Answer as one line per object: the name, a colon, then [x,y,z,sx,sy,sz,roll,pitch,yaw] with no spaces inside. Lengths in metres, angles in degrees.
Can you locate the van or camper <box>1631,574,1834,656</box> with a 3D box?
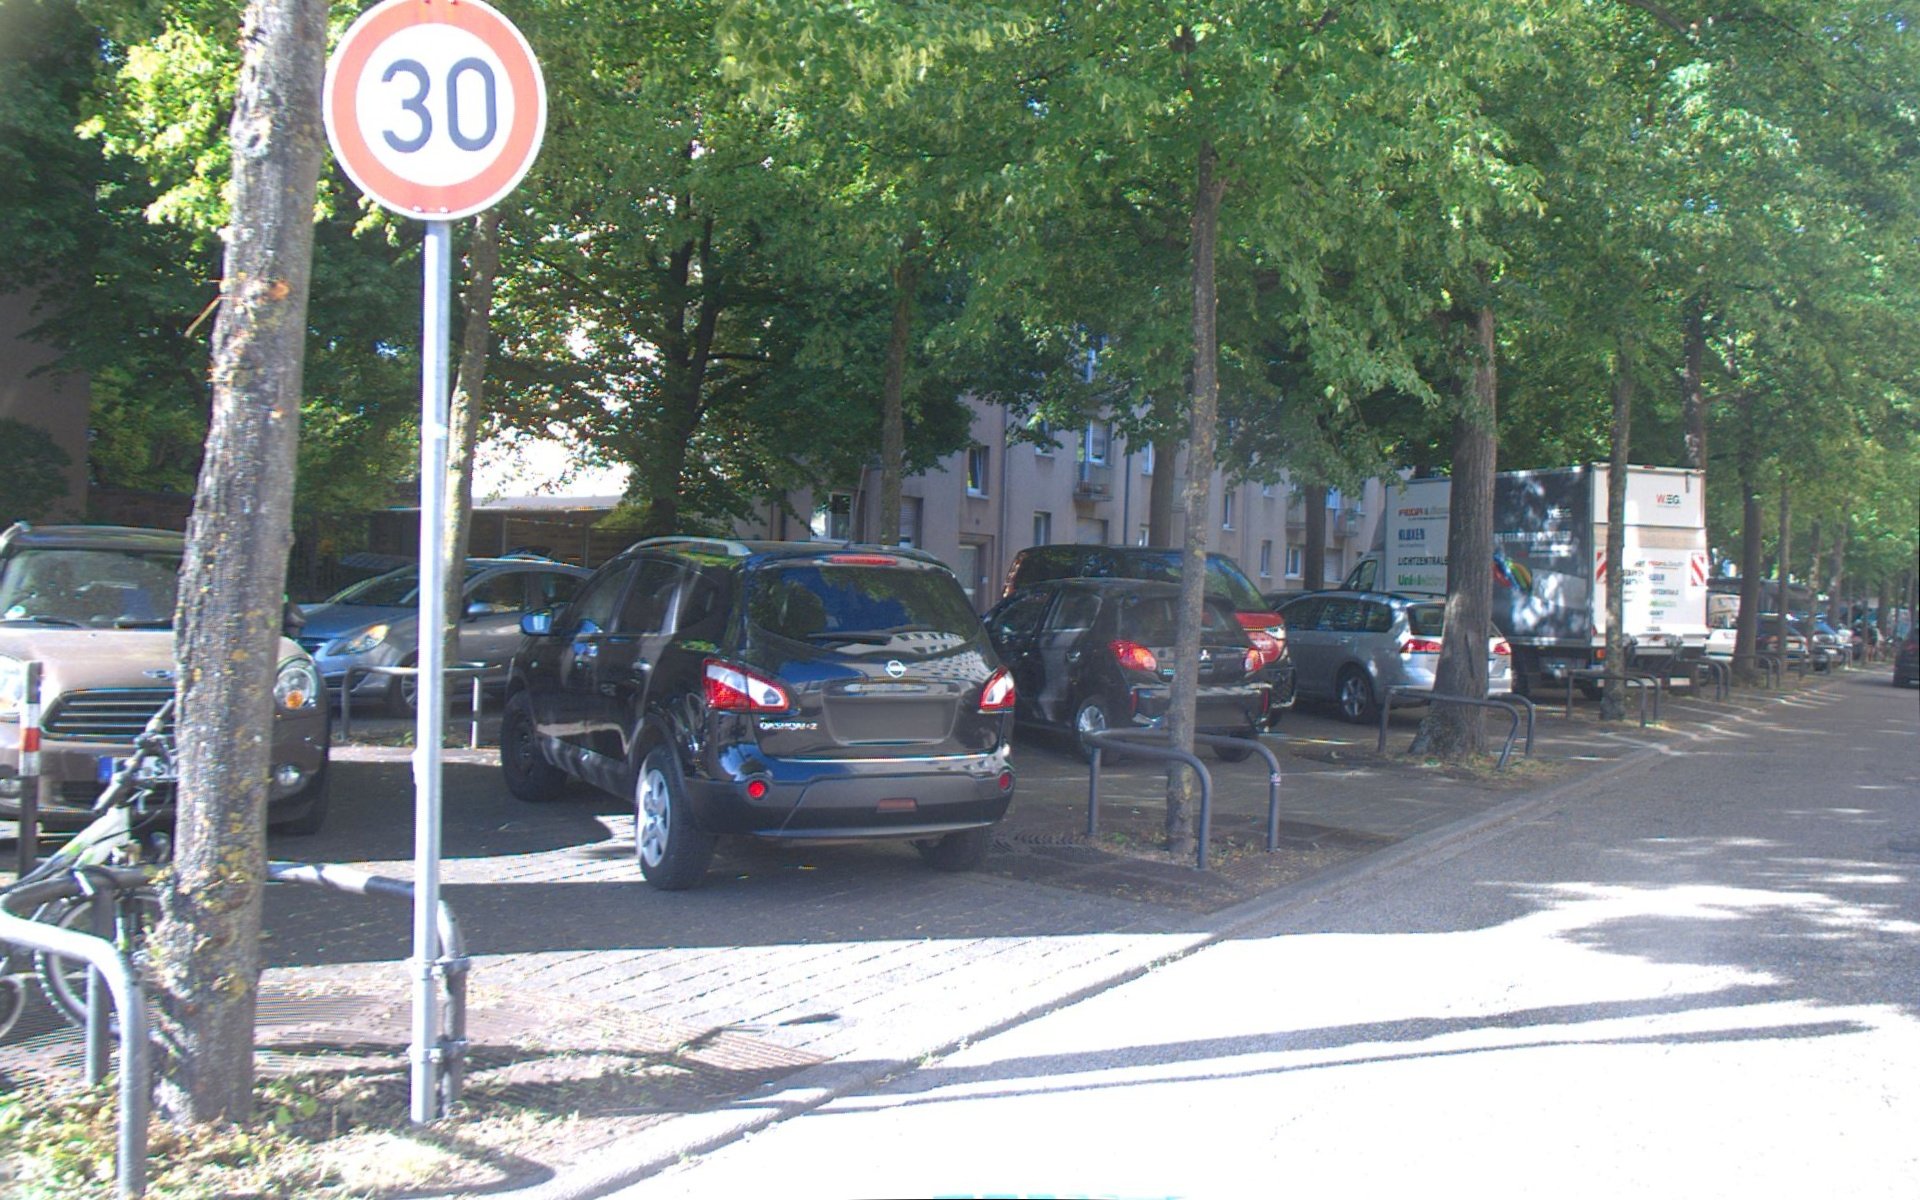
van or camper: [29.982,0.525,64.542,2.282,2.981,7.177,1,0,-30]

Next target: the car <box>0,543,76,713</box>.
car: [-10.086,0.212,14.327,1.723,1.537,3.939,2,1,32]

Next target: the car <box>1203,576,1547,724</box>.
car: [4.849,0.531,20.013,1.783,1.533,4.313,2,1,-23]

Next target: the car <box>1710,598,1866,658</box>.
car: [25.854,0.854,51.799,1.733,1.708,4.109,2,1,-28]

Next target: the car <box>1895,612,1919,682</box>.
car: [22.455,1.062,37.790,1.764,1.530,3.577,2,0,31]

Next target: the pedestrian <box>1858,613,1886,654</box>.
pedestrian: [34.322,1.263,62.268,0.589,1.481,0.703,2,0,-34]

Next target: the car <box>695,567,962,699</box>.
car: [-1.619,0.395,21.803,1.719,1.512,3.946,2,1,26]

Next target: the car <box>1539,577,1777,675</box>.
car: [15.344,0.532,36.591,2.054,1.897,4.475,2,1,-32]

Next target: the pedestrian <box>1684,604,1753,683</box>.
pedestrian: [14.112,0.799,30.777,0.914,1.421,0.747,2,0,-26]

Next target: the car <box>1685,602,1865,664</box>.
car: [22.653,0.883,46.147,1.689,1.487,4.390,3,0,-24]

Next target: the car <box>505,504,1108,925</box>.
car: [-1.123,0.385,9.124,1.810,1.700,4.300,2,3,-27]

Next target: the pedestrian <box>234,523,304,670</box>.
pedestrian: [-8.443,-0.042,20.209,0.730,1.766,0.536,2,0,-24]

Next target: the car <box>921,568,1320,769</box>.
car: [1.285,0.518,14.808,1.736,1.506,3.788,2,1,-28]

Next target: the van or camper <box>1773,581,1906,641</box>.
van or camper: [51.386,0.608,96.766,2.459,3.297,6.616,1,0,-28]

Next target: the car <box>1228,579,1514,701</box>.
car: [5.833,0.525,24.052,1.783,1.533,4.313,2,1,-23]

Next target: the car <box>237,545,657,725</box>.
car: [-4.901,0.298,16.370,1.719,1.512,3.946,2,1,26]

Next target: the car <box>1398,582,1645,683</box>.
car: [9.724,0.531,28.951,1.819,1.529,3.968,2,1,-25]

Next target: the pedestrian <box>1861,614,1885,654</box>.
pedestrian: [34.717,1.279,62.868,0.513,1.481,0.609,2,0,-34]

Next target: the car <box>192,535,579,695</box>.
car: [-6.714,0.160,19.793,1.722,1.668,4.237,2,1,31]

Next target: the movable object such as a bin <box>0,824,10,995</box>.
movable object such as a bin: [-3.622,1.041,5.127,0.563,0.575,1.114,2,0,12]

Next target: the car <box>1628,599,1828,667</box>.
car: [19.207,0.793,41.565,1.759,1.481,4.454,2,1,-25]

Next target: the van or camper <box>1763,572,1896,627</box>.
van or camper: [44.778,-0.055,85.303,2.221,2.683,5.835,1,0,-27]

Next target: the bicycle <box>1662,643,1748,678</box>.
bicycle: [14.101,1.132,31.342,0.403,0.568,1.601,2,1,-26]

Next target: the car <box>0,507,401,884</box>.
car: [-4.706,0.387,9.256,1.901,1.638,3.950,1,0,-36]

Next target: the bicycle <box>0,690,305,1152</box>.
bicycle: [-2.473,0.830,4.379,0.345,1.091,1.592,2,0,22]

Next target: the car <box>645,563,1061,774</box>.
car: [-1.040,0.469,13.851,1.799,1.447,3.905,2,1,-33]

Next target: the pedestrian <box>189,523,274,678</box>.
pedestrian: [-8.480,0.000,19.256,0.726,1.766,0.539,2,0,29]

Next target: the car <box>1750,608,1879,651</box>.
car: [33.391,1.142,64.747,1.652,1.449,4.286,2,1,-30]

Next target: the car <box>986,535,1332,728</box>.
car: [2.093,0.282,18.848,1.903,1.906,4.471,2,1,-23]

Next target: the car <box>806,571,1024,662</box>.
car: [-0.714,0.280,29.579,1.733,1.460,4.331,2,1,33]

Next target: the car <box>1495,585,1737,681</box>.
car: [12.041,0.575,30.647,1.706,1.532,4.075,2,1,-25]

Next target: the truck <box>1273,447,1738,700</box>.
truck: [8.095,-0.391,25.711,2.507,3.351,7.266,1,0,-25]

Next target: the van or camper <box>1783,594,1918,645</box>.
van or camper: [43.610,0.917,81.157,2.193,2.315,5.453,1,0,-33]
